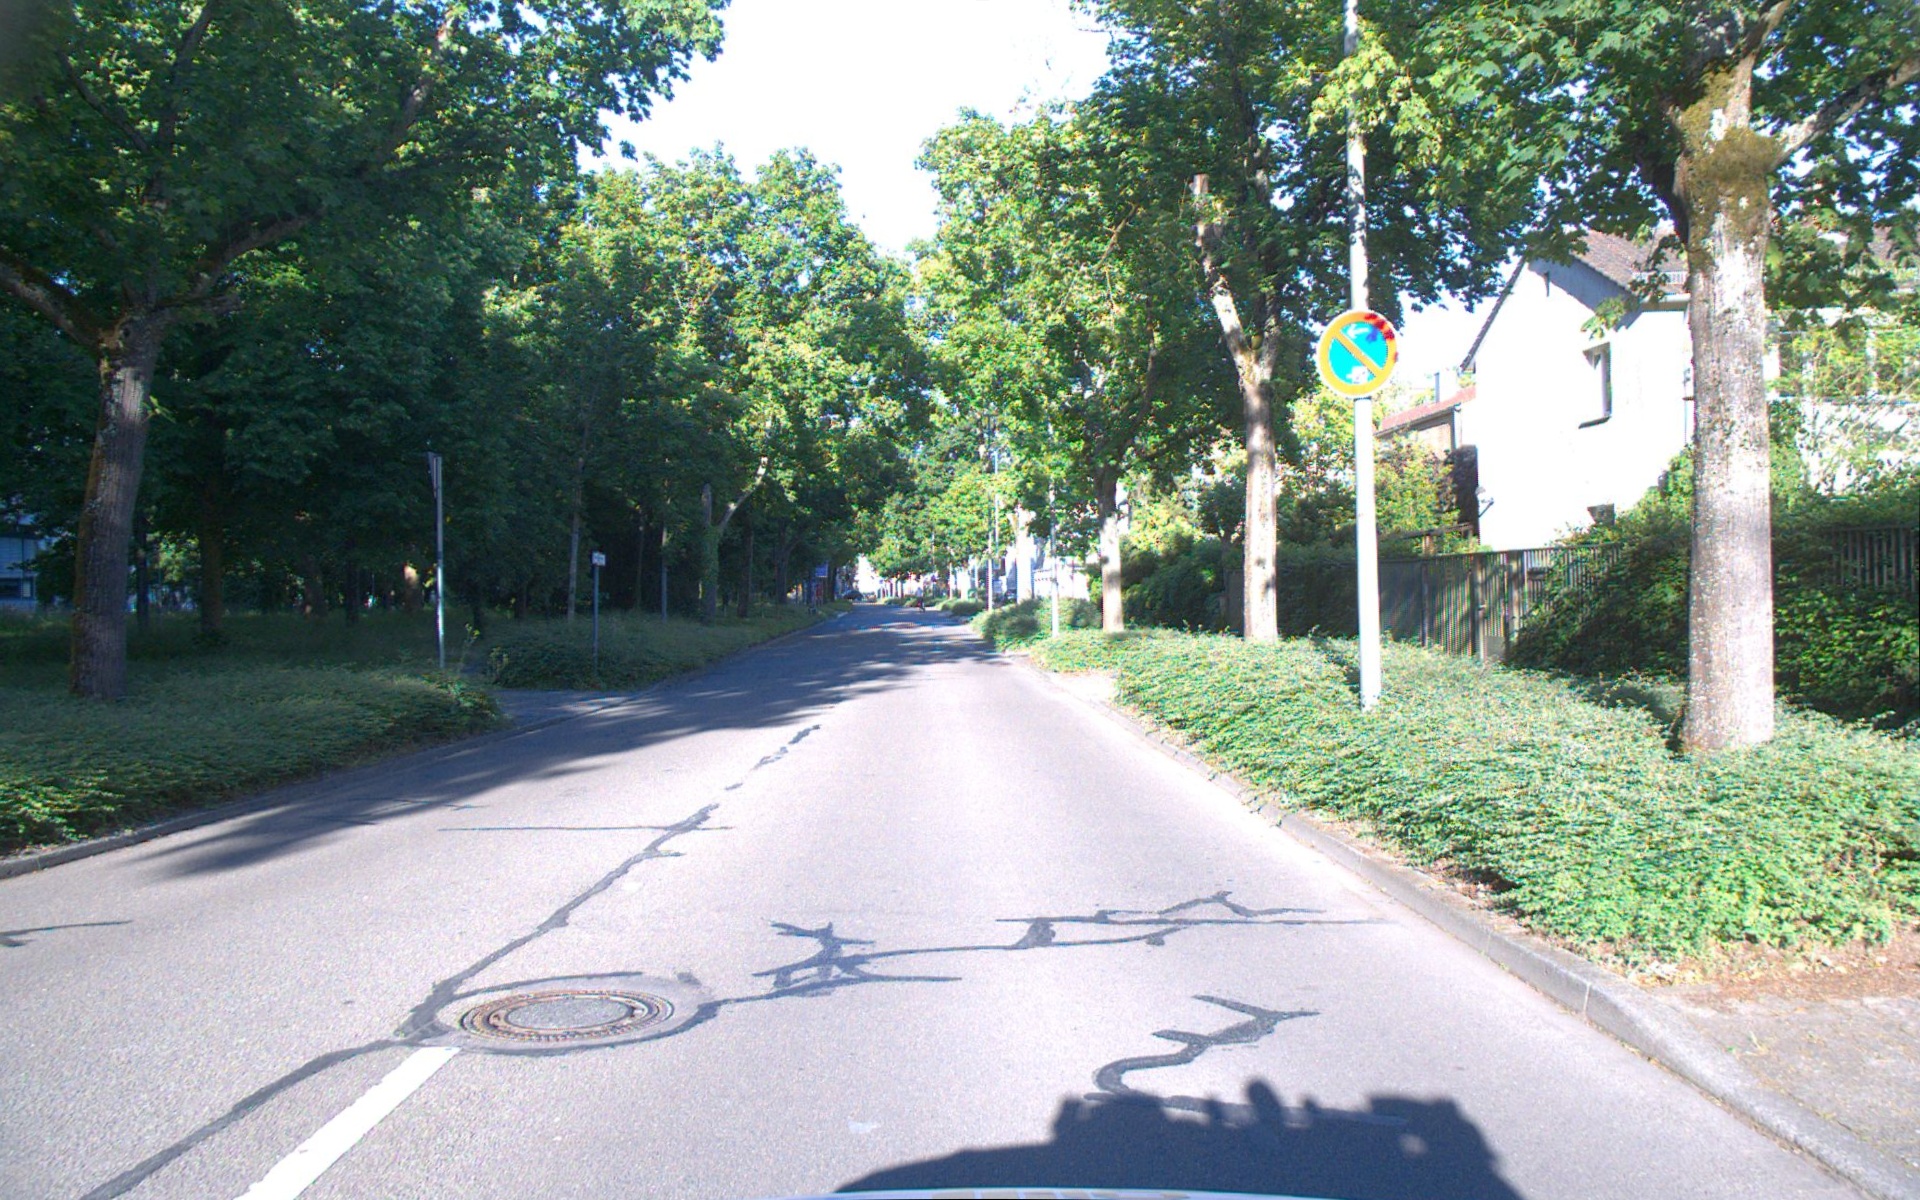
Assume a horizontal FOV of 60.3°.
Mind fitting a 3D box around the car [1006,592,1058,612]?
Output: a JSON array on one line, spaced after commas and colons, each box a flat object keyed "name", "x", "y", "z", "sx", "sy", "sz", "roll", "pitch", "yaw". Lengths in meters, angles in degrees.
[{"name": "car", "x": 6.071, "y": 0.153, "z": 139.325, "sx": 4.259, "sy": 1.377, "sz": 2.145, "roll": 2, "pitch": 4, "yaw": 4}]

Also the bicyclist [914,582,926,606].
[{"name": "bicyclist", "x": -2.765, "y": -0.420, "z": 113.776, "sx": 0.849, "sy": 1.669, "sz": 1.114, "roll": 0, "pitch": 2, "yaw": -2}]

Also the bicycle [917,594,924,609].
[{"name": "bicycle", "x": -2.700, "y": 0.098, "z": 113.831, "sx": 0.430, "sy": 0.995, "sz": 1.661, "roll": -1, "pitch": 2, "yaw": -2}]
